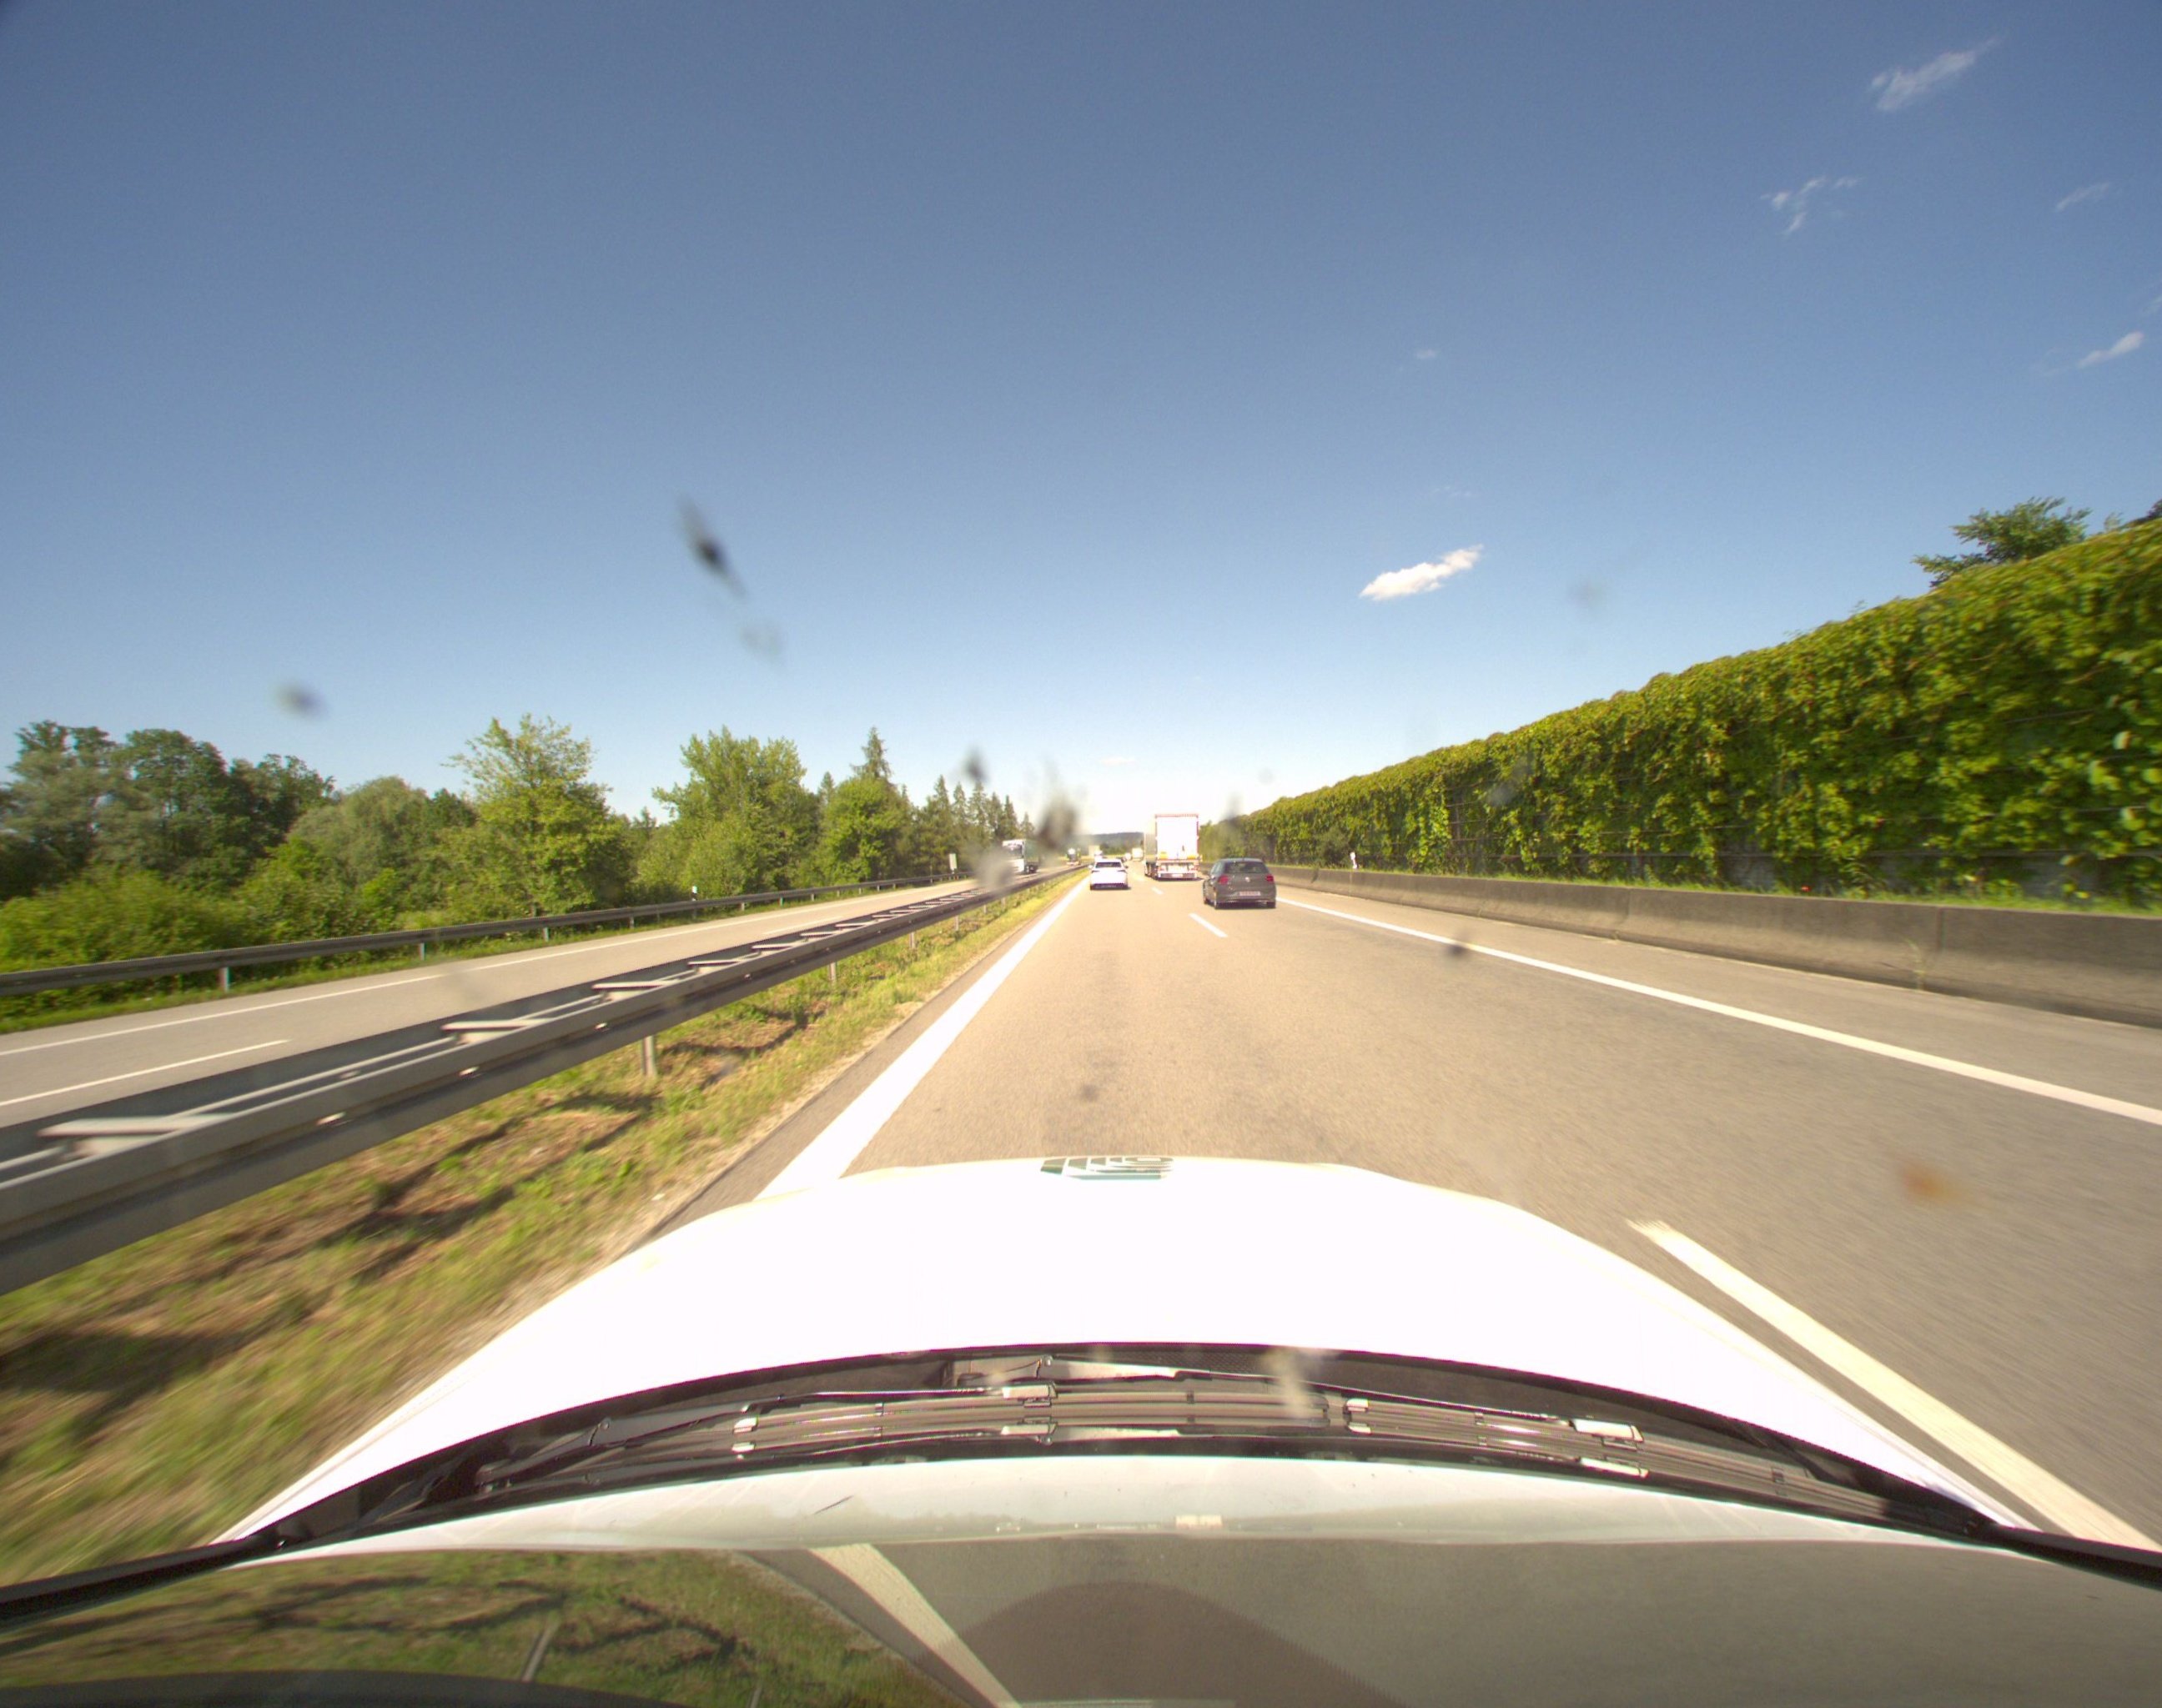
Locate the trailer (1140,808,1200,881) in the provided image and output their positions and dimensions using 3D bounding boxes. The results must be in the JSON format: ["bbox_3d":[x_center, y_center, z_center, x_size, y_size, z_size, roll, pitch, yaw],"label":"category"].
[{"bbox_3d":[5.562,-0.517,53.166,2.807,3.966,14.169,-3,0,3],"label":"trailer"}]

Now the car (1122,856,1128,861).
[{"bbox_3d":[12.682,1.344,236.435,1.764,1.421,4.368,-1,0,3],"label":"car"}]

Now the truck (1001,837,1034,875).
[{"bbox_3d":[-7.165,0.237,92.568,2.633,4.008,7.196,-3,0,2],"label":"truck"}]

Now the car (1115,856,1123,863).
[{"bbox_3d":[8.158,1.169,174.694,1.764,1.421,4.498,-1,0,2],"label":"car"}]

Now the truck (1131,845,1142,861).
[{"bbox_3d":[16.798,-0.402,247.090,3.139,4.612,8.912,-2,0,3],"label":"truck"}]

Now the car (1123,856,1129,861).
[{"bbox_3d":[13.929,1.304,252.910,1.763,1.421,4.370,-1,0,5],"label":"car"}]

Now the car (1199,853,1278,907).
[{"bbox_3d":[4.624,0.721,24.493,1.659,1.454,4.546,-1,0,2],"label":"car"}]

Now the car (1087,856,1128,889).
[{"bbox_3d":[1.294,0.852,39.212,1.833,1.421,5.257,-1,0,2],"label":"car"}]

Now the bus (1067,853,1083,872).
[{"bbox_3d":[-1.333,1.963,191.674,2.925,4.054,14.678,-3,0,3],"label":"bus"}]

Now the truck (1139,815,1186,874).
[{"bbox_3d":[5.903,-0.635,59.899,2.829,3.966,7.047,-3,0,2],"label":"truck"}]

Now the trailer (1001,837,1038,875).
[{"bbox_3d":[-7.100,0.259,96.130,2.651,4.008,14.093,-3,0,2],"label":"trailer"}]
